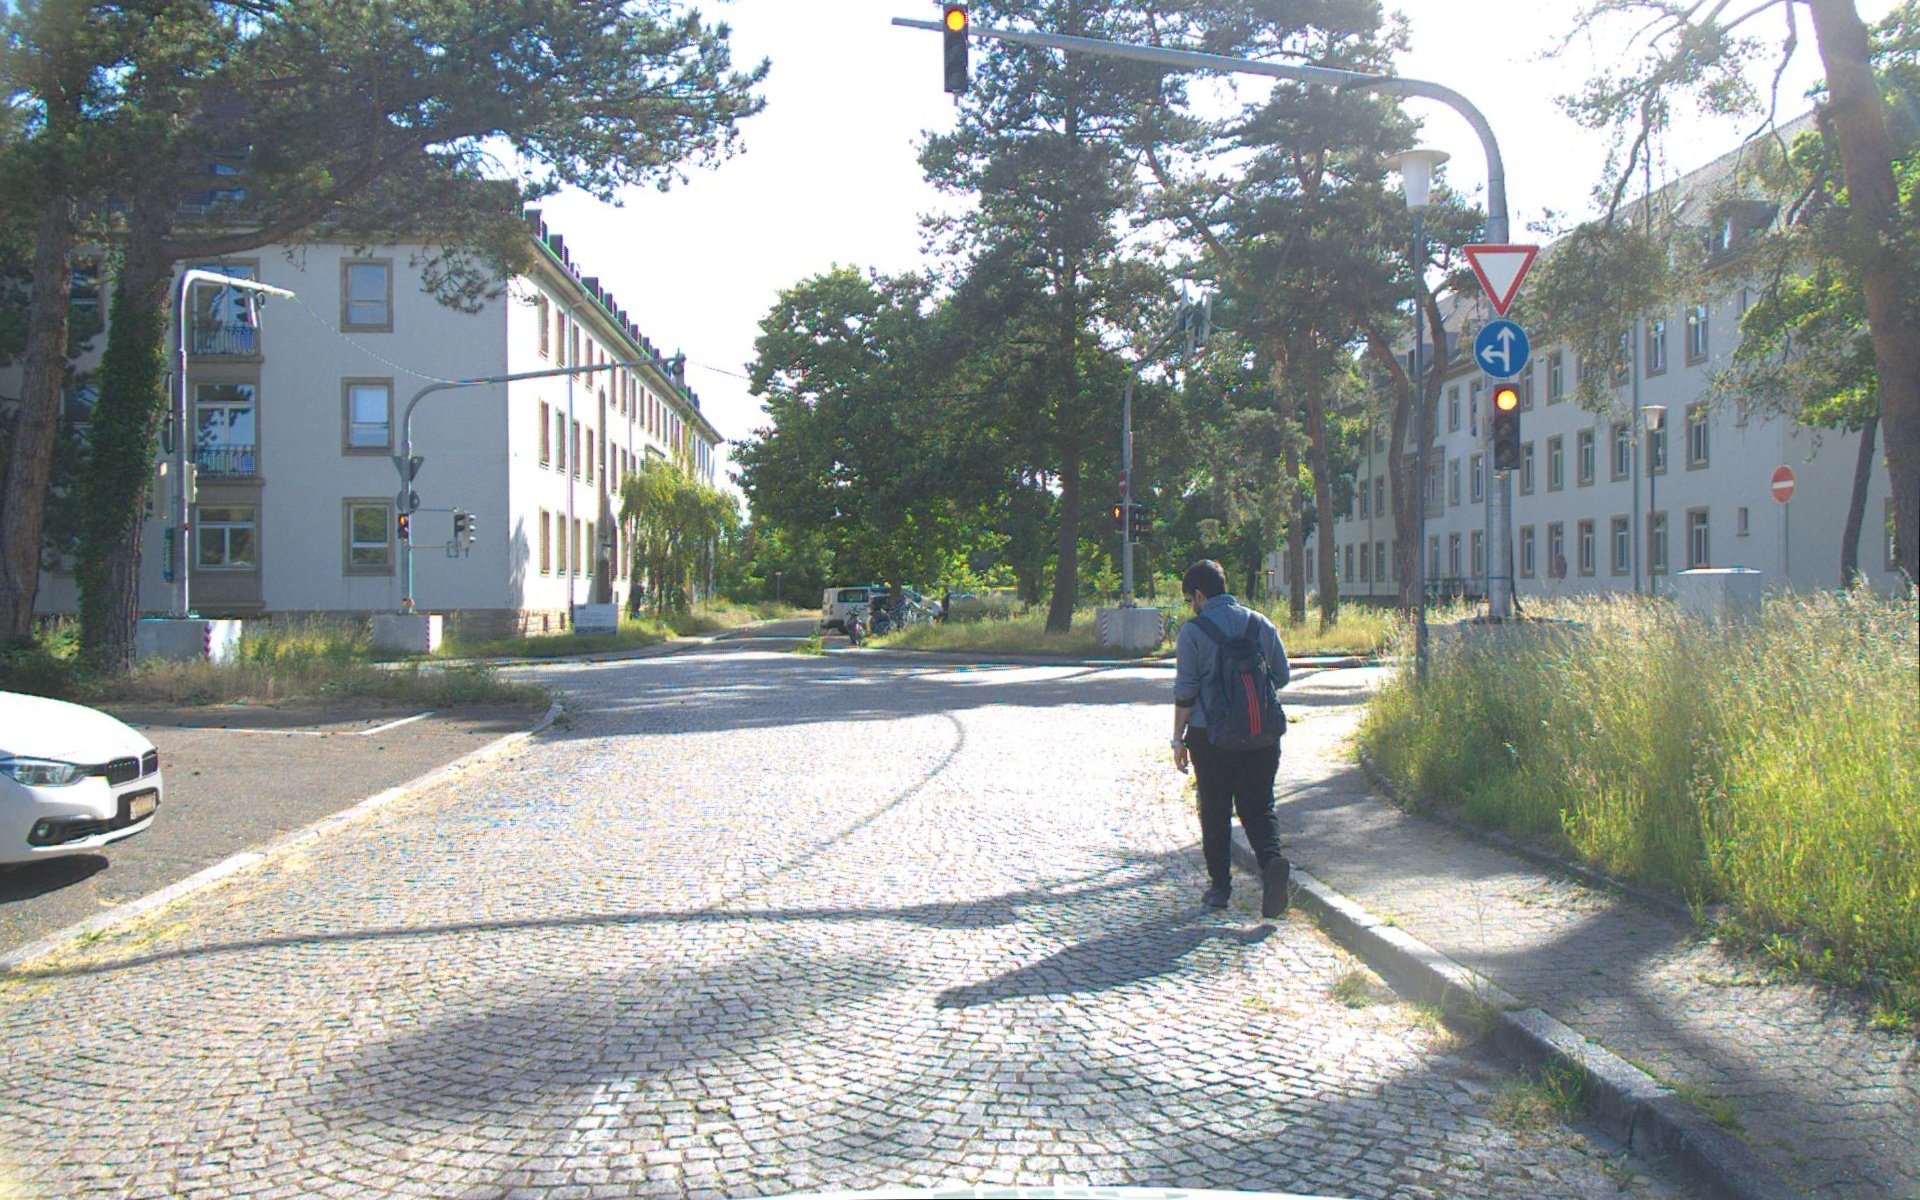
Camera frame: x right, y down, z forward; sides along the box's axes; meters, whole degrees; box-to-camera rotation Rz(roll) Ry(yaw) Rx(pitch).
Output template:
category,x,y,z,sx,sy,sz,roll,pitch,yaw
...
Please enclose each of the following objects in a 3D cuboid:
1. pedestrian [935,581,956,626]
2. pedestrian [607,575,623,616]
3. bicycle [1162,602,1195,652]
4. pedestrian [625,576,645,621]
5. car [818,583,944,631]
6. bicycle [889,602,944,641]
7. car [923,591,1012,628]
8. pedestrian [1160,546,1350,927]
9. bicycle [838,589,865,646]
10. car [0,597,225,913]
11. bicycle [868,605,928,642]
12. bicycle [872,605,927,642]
category,x,y,z,sx,sy,sz,roll,pitch,yaw
pedestrian,-0.584,0.141,67.683,0.746,1.815,0.682,0,0,-11
pedestrian,-13.461,-0.163,64.525,0.596,1.587,0.544,0,0,-10
bicycle,5.243,0.633,39.796,0.706,1.134,2.585,0,0,6
pedestrian,-12.741,-0.057,64.912,0.601,1.783,0.623,0,0,-32
car,-3.320,0.283,69.074,4.979,1.952,1.993,0,0,-13
bicycle,-1.398,0.680,52.532,1.694,1.185,0.560,-1,0,-7
car,0.316,0.428,73.229,3.676,1.607,1.737,0,0,-11
pedestrian,1.424,0.634,8.110,0.738,1.755,0.828,1,0,-1
bicycle,-3.133,0.492,47.720,0.738,1.608,2.535,0,0,-4
car,-6.449,0.725,9.162,3.905,1.522,1.773,2,0,1
bicycle,-1.929,0.722,51.250,1.799,1.132,0.494,-1,0,-7
bicycle,-1.894,0.721,51.798,1.694,1.132,0.483,-1,0,-7
